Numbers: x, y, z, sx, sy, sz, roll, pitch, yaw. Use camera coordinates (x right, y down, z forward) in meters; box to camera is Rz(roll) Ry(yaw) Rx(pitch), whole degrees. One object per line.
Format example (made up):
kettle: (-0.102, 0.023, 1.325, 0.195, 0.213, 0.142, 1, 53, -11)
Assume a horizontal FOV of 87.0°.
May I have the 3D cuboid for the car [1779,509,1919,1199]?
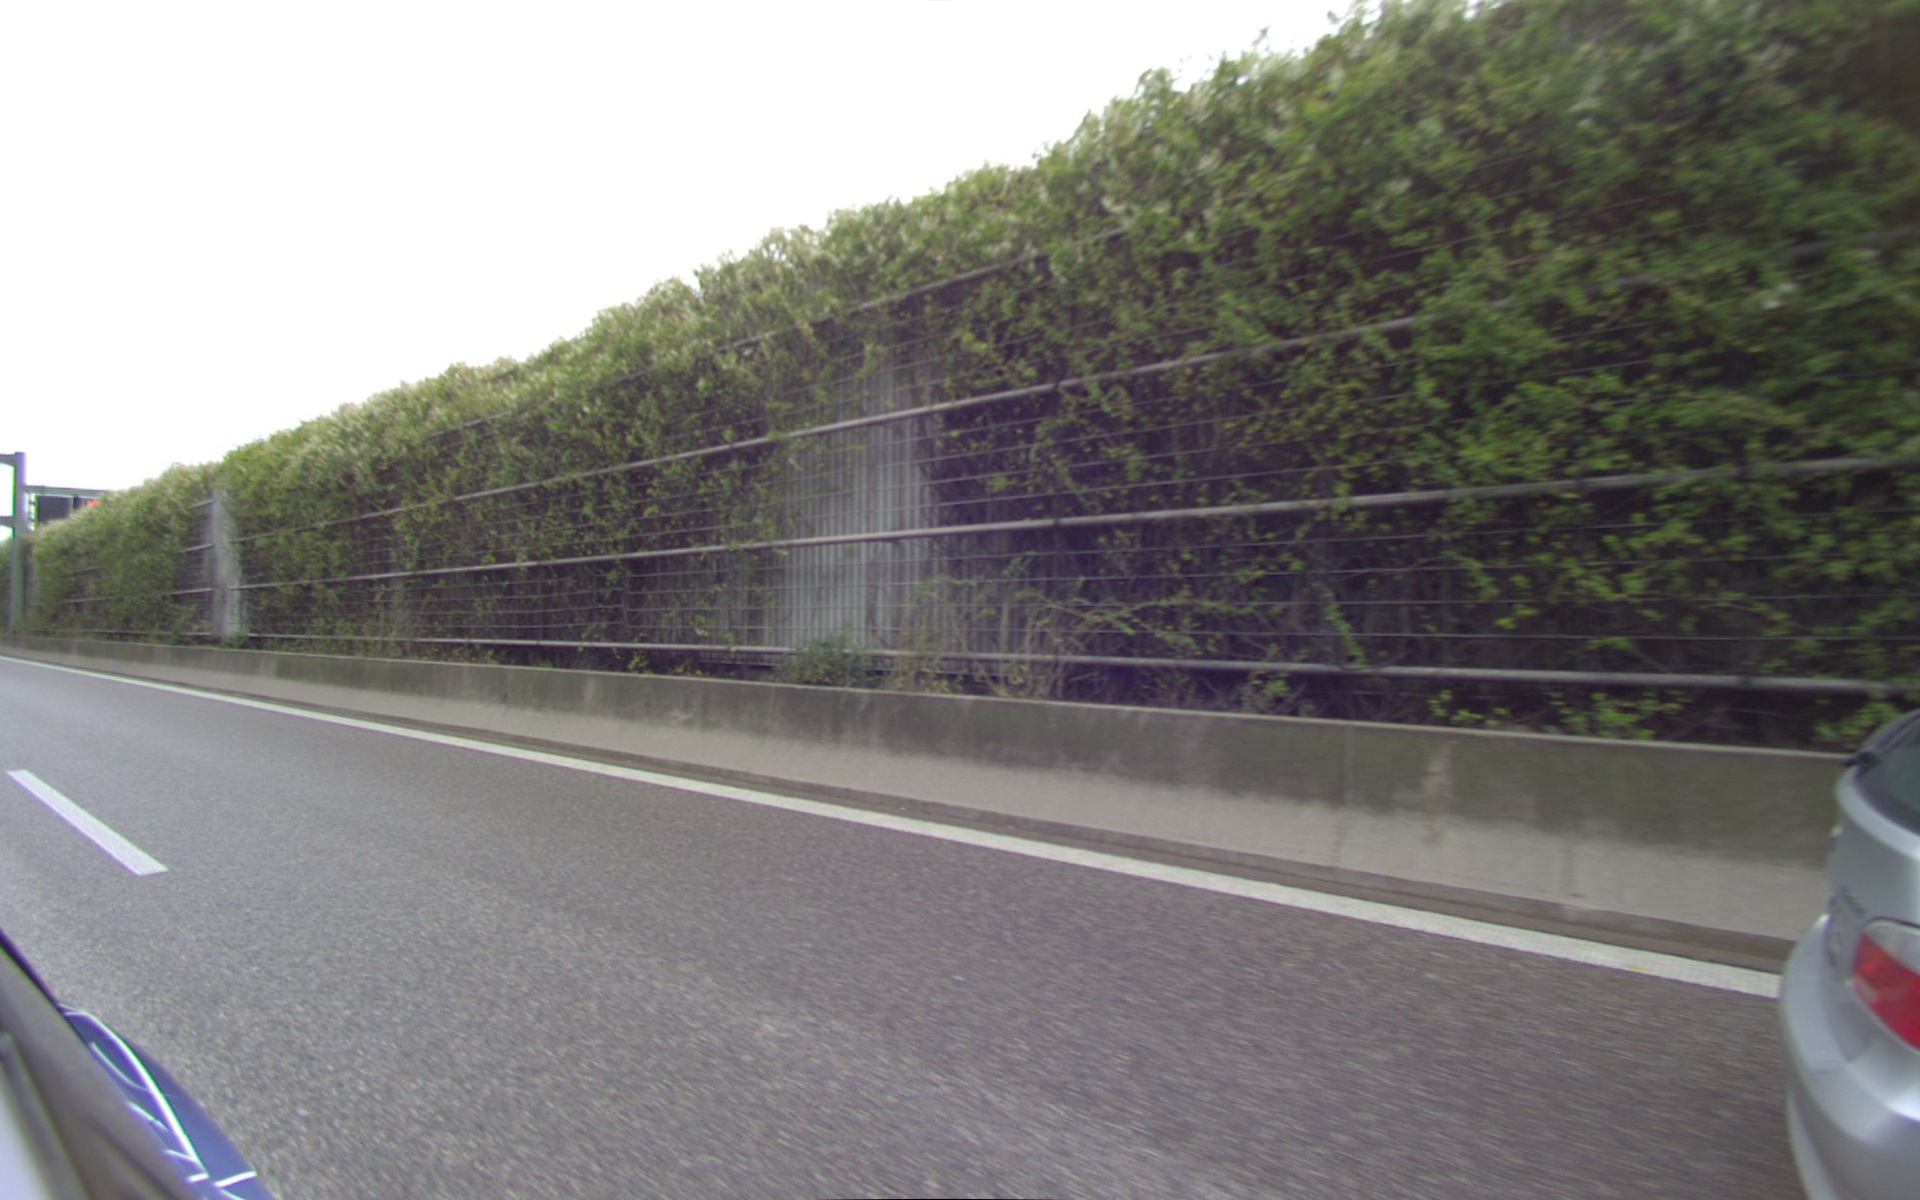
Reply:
car: (3.731, 0.600, 0.584, 5.027, 1.480, 1.702, 0, 0, 41)
